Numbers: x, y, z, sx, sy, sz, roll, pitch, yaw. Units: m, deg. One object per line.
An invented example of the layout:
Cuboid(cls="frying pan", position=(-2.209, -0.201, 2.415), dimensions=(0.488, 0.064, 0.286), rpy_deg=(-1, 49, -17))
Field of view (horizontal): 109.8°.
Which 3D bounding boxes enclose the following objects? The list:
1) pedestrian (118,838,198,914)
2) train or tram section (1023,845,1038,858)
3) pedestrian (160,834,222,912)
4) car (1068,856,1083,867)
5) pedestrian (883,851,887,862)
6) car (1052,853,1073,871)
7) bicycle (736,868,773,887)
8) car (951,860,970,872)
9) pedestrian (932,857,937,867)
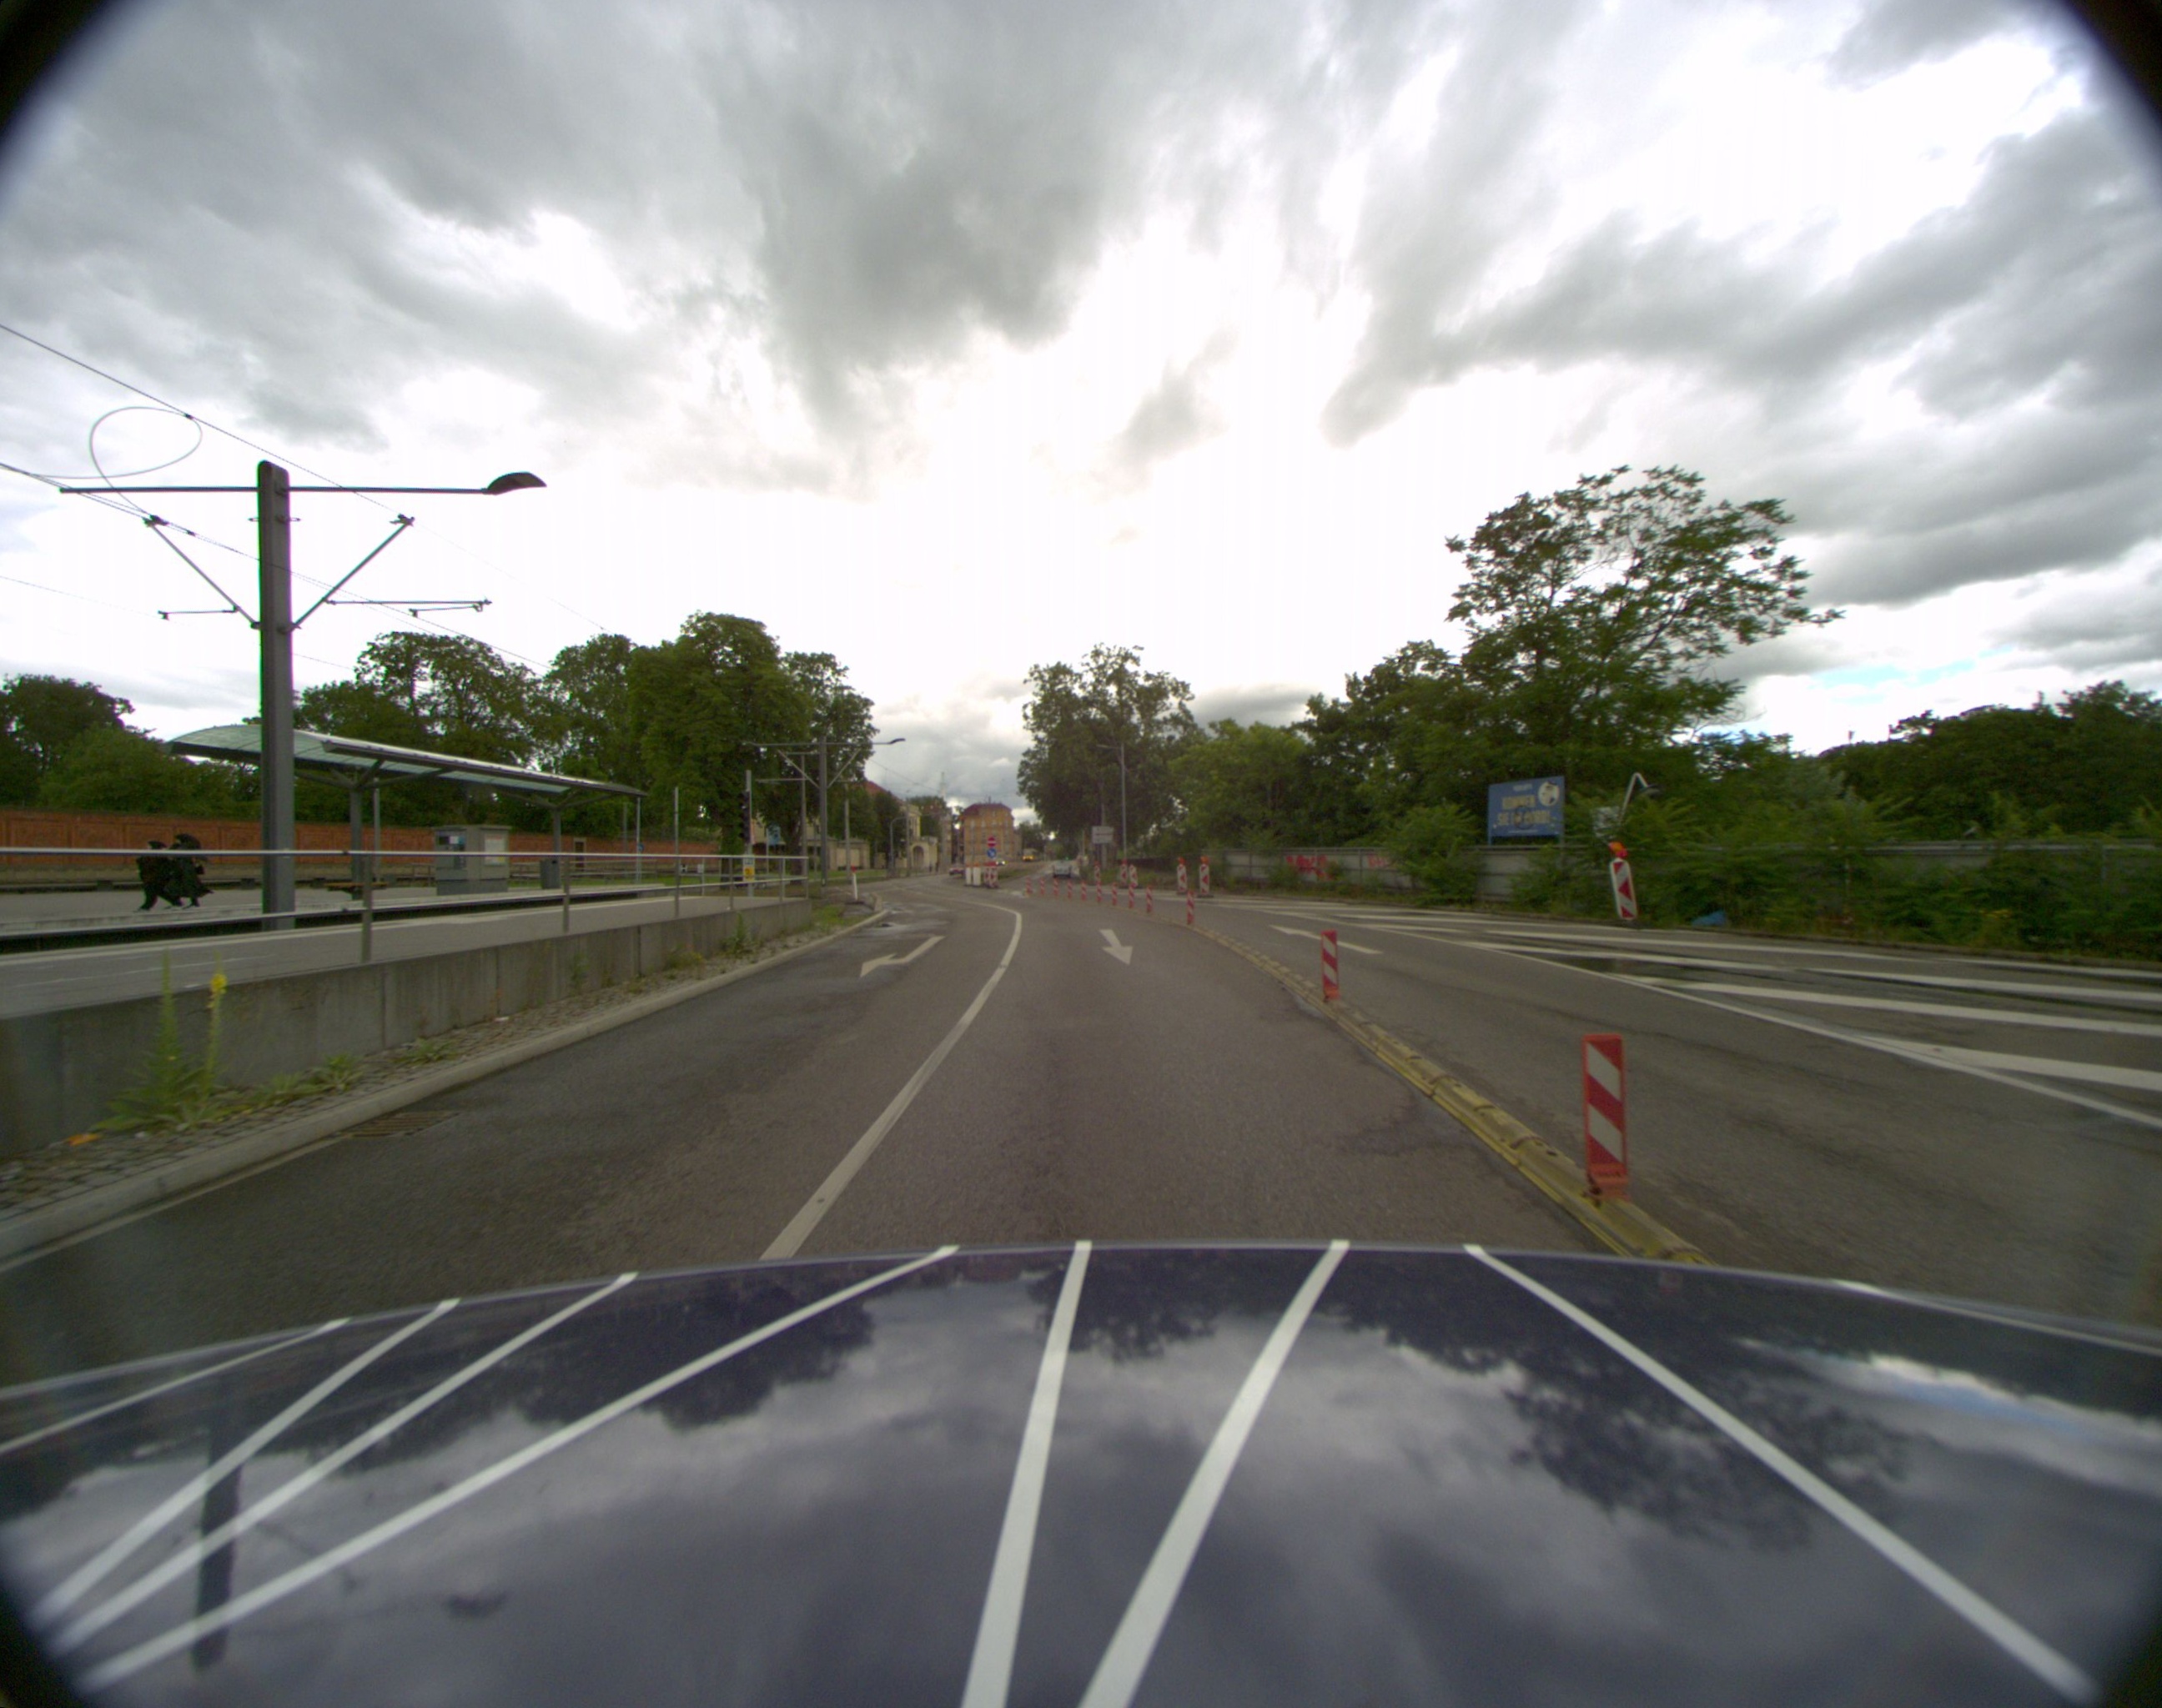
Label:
Cuboid(cls="pedestrian", position=(-20.217, 0.469, 16.661), dimensions=(0.741, 1.591, 0.772), rpy_deg=(-3, 1, 8))
Cuboid(cls="train or tram section", position=(-13.998, -0.783, 211.451), dimensions=(3.740, 3.346, 17.550), rpy_deg=(0, 1, -2))
Cuboid(cls="pedestrian", position=(-19.400, 0.409, 16.572), dimensions=(0.487, 1.651, 0.628), rpy_deg=(-3, 1, 8))
Cuboid(cls="car", position=(-0.756, 1.077, 102.651), dimensions=(1.700, 1.452, 3.912), rpy_deg=(0, -1, -4))
Cuboid(cls="pedestrian", position=(-33.901, 0.454, 131.343), dimensions=(0.596, 1.782, 0.808), rpy_deg=(-1, 1, -1))
Cuboid(cls="car", position=(-1.920, 0.796, 79.095), dimensions=(1.869, 1.772, 4.746), rpy_deg=(-2, 0, -5))
Cuboid(cls="bicycle", position=(-20.312, 1.466, 47.306), dimensions=(1.996, 1.151, 0.741), rpy_deg=(-1, 0, 4))
Cuboid(cls="car", position=(-15.010, 1.477, 94.772), dimensions=(1.681, 1.433, 4.119), rpy_deg=(-3, 0, -1))
Cuboid(cls="pedestrian", position=(-24.787, 1.366, 128.732), dimensions=(0.672, 1.757, 0.936), rpy_deg=(-1, 1, -1))
